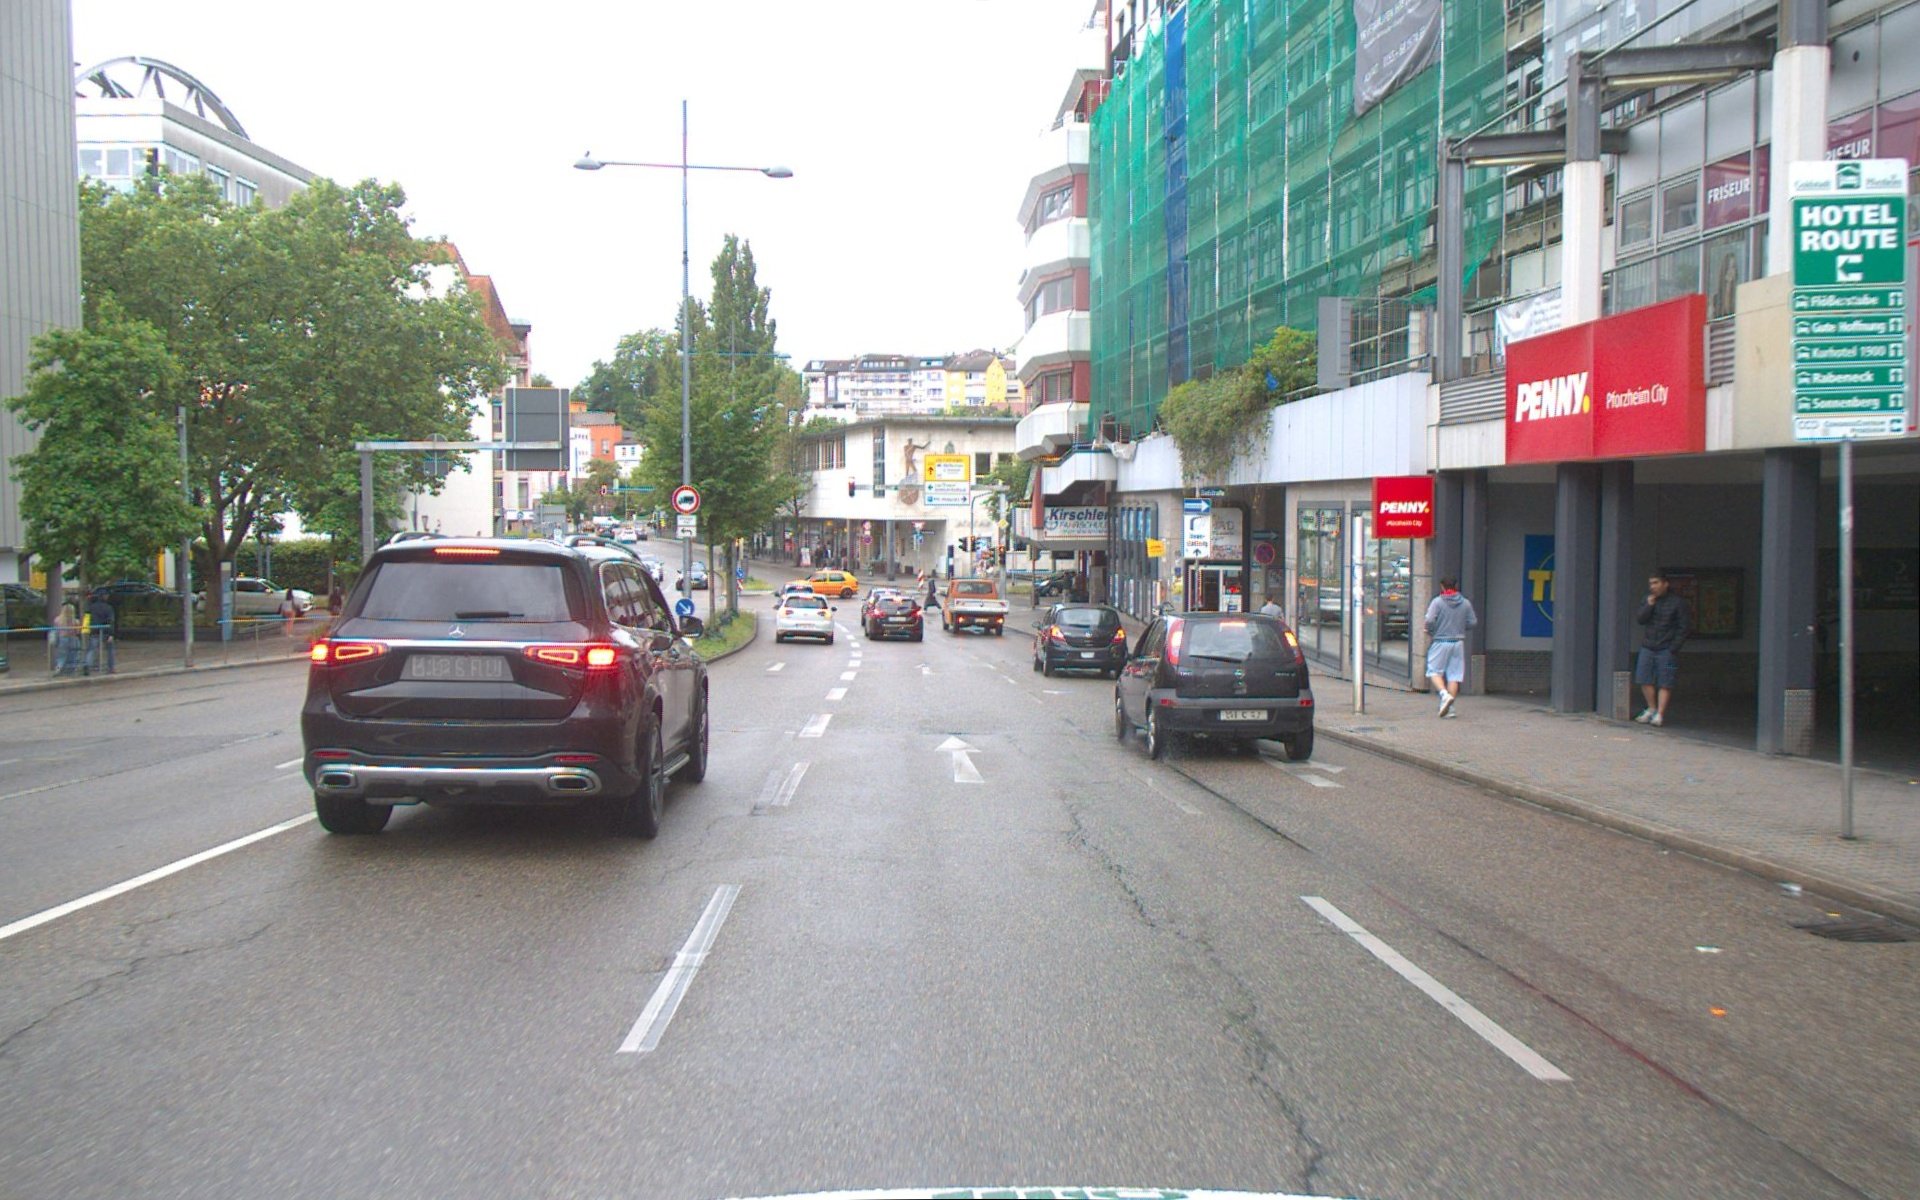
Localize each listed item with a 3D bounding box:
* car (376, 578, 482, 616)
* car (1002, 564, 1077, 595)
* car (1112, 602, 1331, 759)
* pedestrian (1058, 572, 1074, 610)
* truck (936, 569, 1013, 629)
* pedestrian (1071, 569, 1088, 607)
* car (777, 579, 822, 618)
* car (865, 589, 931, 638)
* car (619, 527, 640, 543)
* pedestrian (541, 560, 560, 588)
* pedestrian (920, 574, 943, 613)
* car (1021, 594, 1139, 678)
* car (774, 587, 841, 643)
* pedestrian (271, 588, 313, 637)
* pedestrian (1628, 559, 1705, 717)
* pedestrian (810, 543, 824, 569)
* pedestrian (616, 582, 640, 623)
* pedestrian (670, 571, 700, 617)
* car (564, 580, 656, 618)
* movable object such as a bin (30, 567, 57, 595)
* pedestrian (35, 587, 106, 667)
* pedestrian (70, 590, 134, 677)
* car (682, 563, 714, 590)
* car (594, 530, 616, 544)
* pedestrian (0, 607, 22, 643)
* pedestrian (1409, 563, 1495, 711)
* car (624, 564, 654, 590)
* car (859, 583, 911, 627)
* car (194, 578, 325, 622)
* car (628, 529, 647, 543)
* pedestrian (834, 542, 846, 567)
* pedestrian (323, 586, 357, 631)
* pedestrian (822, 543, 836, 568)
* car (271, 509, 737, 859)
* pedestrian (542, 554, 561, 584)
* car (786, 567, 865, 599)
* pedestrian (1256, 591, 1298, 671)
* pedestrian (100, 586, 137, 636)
[{"bbox_3d":[-24.627,-0.138,76.753,4.611,1.672,1.777,1,0,-19],"label":"car"},{"bbox_3d":[4.327,-1.101,89.975,3.759,1.645,1.765,0,0,-20],"label":"car"},{"bbox_3d":[2.636,0.754,17.434,1.682,1.445,3.770,0,0,-1],"label":"car"},{"bbox_3d":[4.937,-0.411,77.003,0.566,1.729,0.648,-1,0,-14],"label":"pedestrian"},{"bbox_3d":[0.474,-0.065,61.408,2.142,2.119,5.595,0,1,-7],"label":"truck"},{"bbox_3d":[5.589,-0.552,77.223,0.567,1.729,0.647,-1,0,-18],"label":"pedestrian"},{"bbox_3d":[-6.545,-0.081,67.124,1.760,1.494,3.994,0,1,-7],"label":"car"},{"bbox_3d":[-2.095,0.420,54.801,1.778,1.466,3.994,1,1,-8],"label":"car"},{"bbox_3d":[-36.217,-7.164,181.347,1.962,1.624,3.982,0,1,-16],"label":"car"},{"bbox_3d":[-24.343,-1.530,98.388,0.919,1.636,0.554,-2,1,-45],"label":"pedestrian"},{"bbox_3d":[-1.312,-0.311,75.210,0.989,1.752,0.838,-1,1,1],"label":"pedestrian"},{"bbox_3d":[2.422,0.691,34.347,1.911,1.601,3.997,0,1,-4],"label":"car"},{"bbox_3d":[-4.585,0.434,50.170,1.911,1.601,3.997,0,1,-4],"label":"car"},{"bbox_3d":[-25.100,0.466,62.187,0.929,1.752,1.015,-1,3,23],"label":"pedestrian"},{"bbox_3d":[7.977,0.417,18.702,0.654,1.745,0.819,-1,1,14],"label":"pedestrian"},{"bbox_3d":[-10.658,-3.279,123.335,0.786,1.834,0.913,-1,0,-18],"label":"pedestrian"},{"bbox_3d":[-14.454,0.121,72.022,0.818,1.752,0.818,-1,1,-1],"label":"pedestrian"},{"bbox_3d":[-11.715,-0.269,70.509,1.041,1.915,0.839,-1,1,2],"label":"pedestrian"},{"bbox_3d":[-16.100,-0.054,76.098,4.078,1.686,1.834,0,0,-15],"label":"car"},{"bbox_3d":[-49.156,-0.994,88.707,1.088,1.471,0.601,-1,0,0],"label":"movable object such as a bin"},{"bbox_3d":[-20.036,0.601,37.273,0.953,1.752,1.090,-1,1,3],"label":"pedestrian"},{"bbox_3d":[-17.804,0.686,34.345,0.801,1.743,1.310,-1,1,-10],"label":"pedestrian"},{"bbox_3d":[-15.355,-1.386,96.935,1.786,1.576,3.993,0,1,-8],"label":"car"},{"bbox_3d":[-42.727,-7.623,198.980,1.727,1.581,3.539,0,1,-26],"label":"car"},{"bbox_3d":[-34.923,0.903,60.616,0.939,1.294,0.752,-2,1,-30],"label":"pedestrian"},{"bbox_3d":[5.971,0.438,20.105,0.818,1.752,0.830,-1,1,5],"label":"pedestrian"},{"bbox_3d":[-18.596,-1.329,95.719,1.676,1.476,3.851,0,1,-11],"label":"car"},{"bbox_3d":[-2.928,0.152,64.023,1.727,1.569,3.995,0,2,-7],"label":"car"},{"bbox_3d":[-30.577,0.013,72.337,4.989,1.790,1.991,1,0,-16],"label":"car"},{"bbox_3d":[-37.918,-7.502,194.516,1.803,1.616,3.854,0,1,-18],"label":"car"},{"bbox_3d":[-8.962,-3.422,123.511,0.691,1.834,0.934,-1,0,-18],"label":"pedestrian"},{"bbox_3d":[-24.253,0.327,64.727,0.928,1.752,0.760,-1,1,15],"label":"pedestrian"},{"bbox_3d":[-9.702,-3.281,122.405,0.833,1.834,1.051,-1,0,-18],"label":"pedestrian"},{"bbox_3d":[-2.811,0.437,11.439,2.046,1.848,4.790,2,1,-3],"label":"car"},{"bbox_3d":[-24.693,-1.868,99.873,0.899,1.834,0.617,-2,1,-45],"label":"pedestrian"},{"bbox_3d":[-7.076,-0.890,86.807,3.927,1.645,1.769,0,0,-13],"label":"car"},{"bbox_3d":[6.704,0.656,34.970,0.631,1.678,0.560,-2,-1,38],"label":"pedestrian"},{"bbox_3d":[-30.595,0.394,60.125,0.741,1.752,0.953,-1,1,9],"label":"pedestrian"}]
